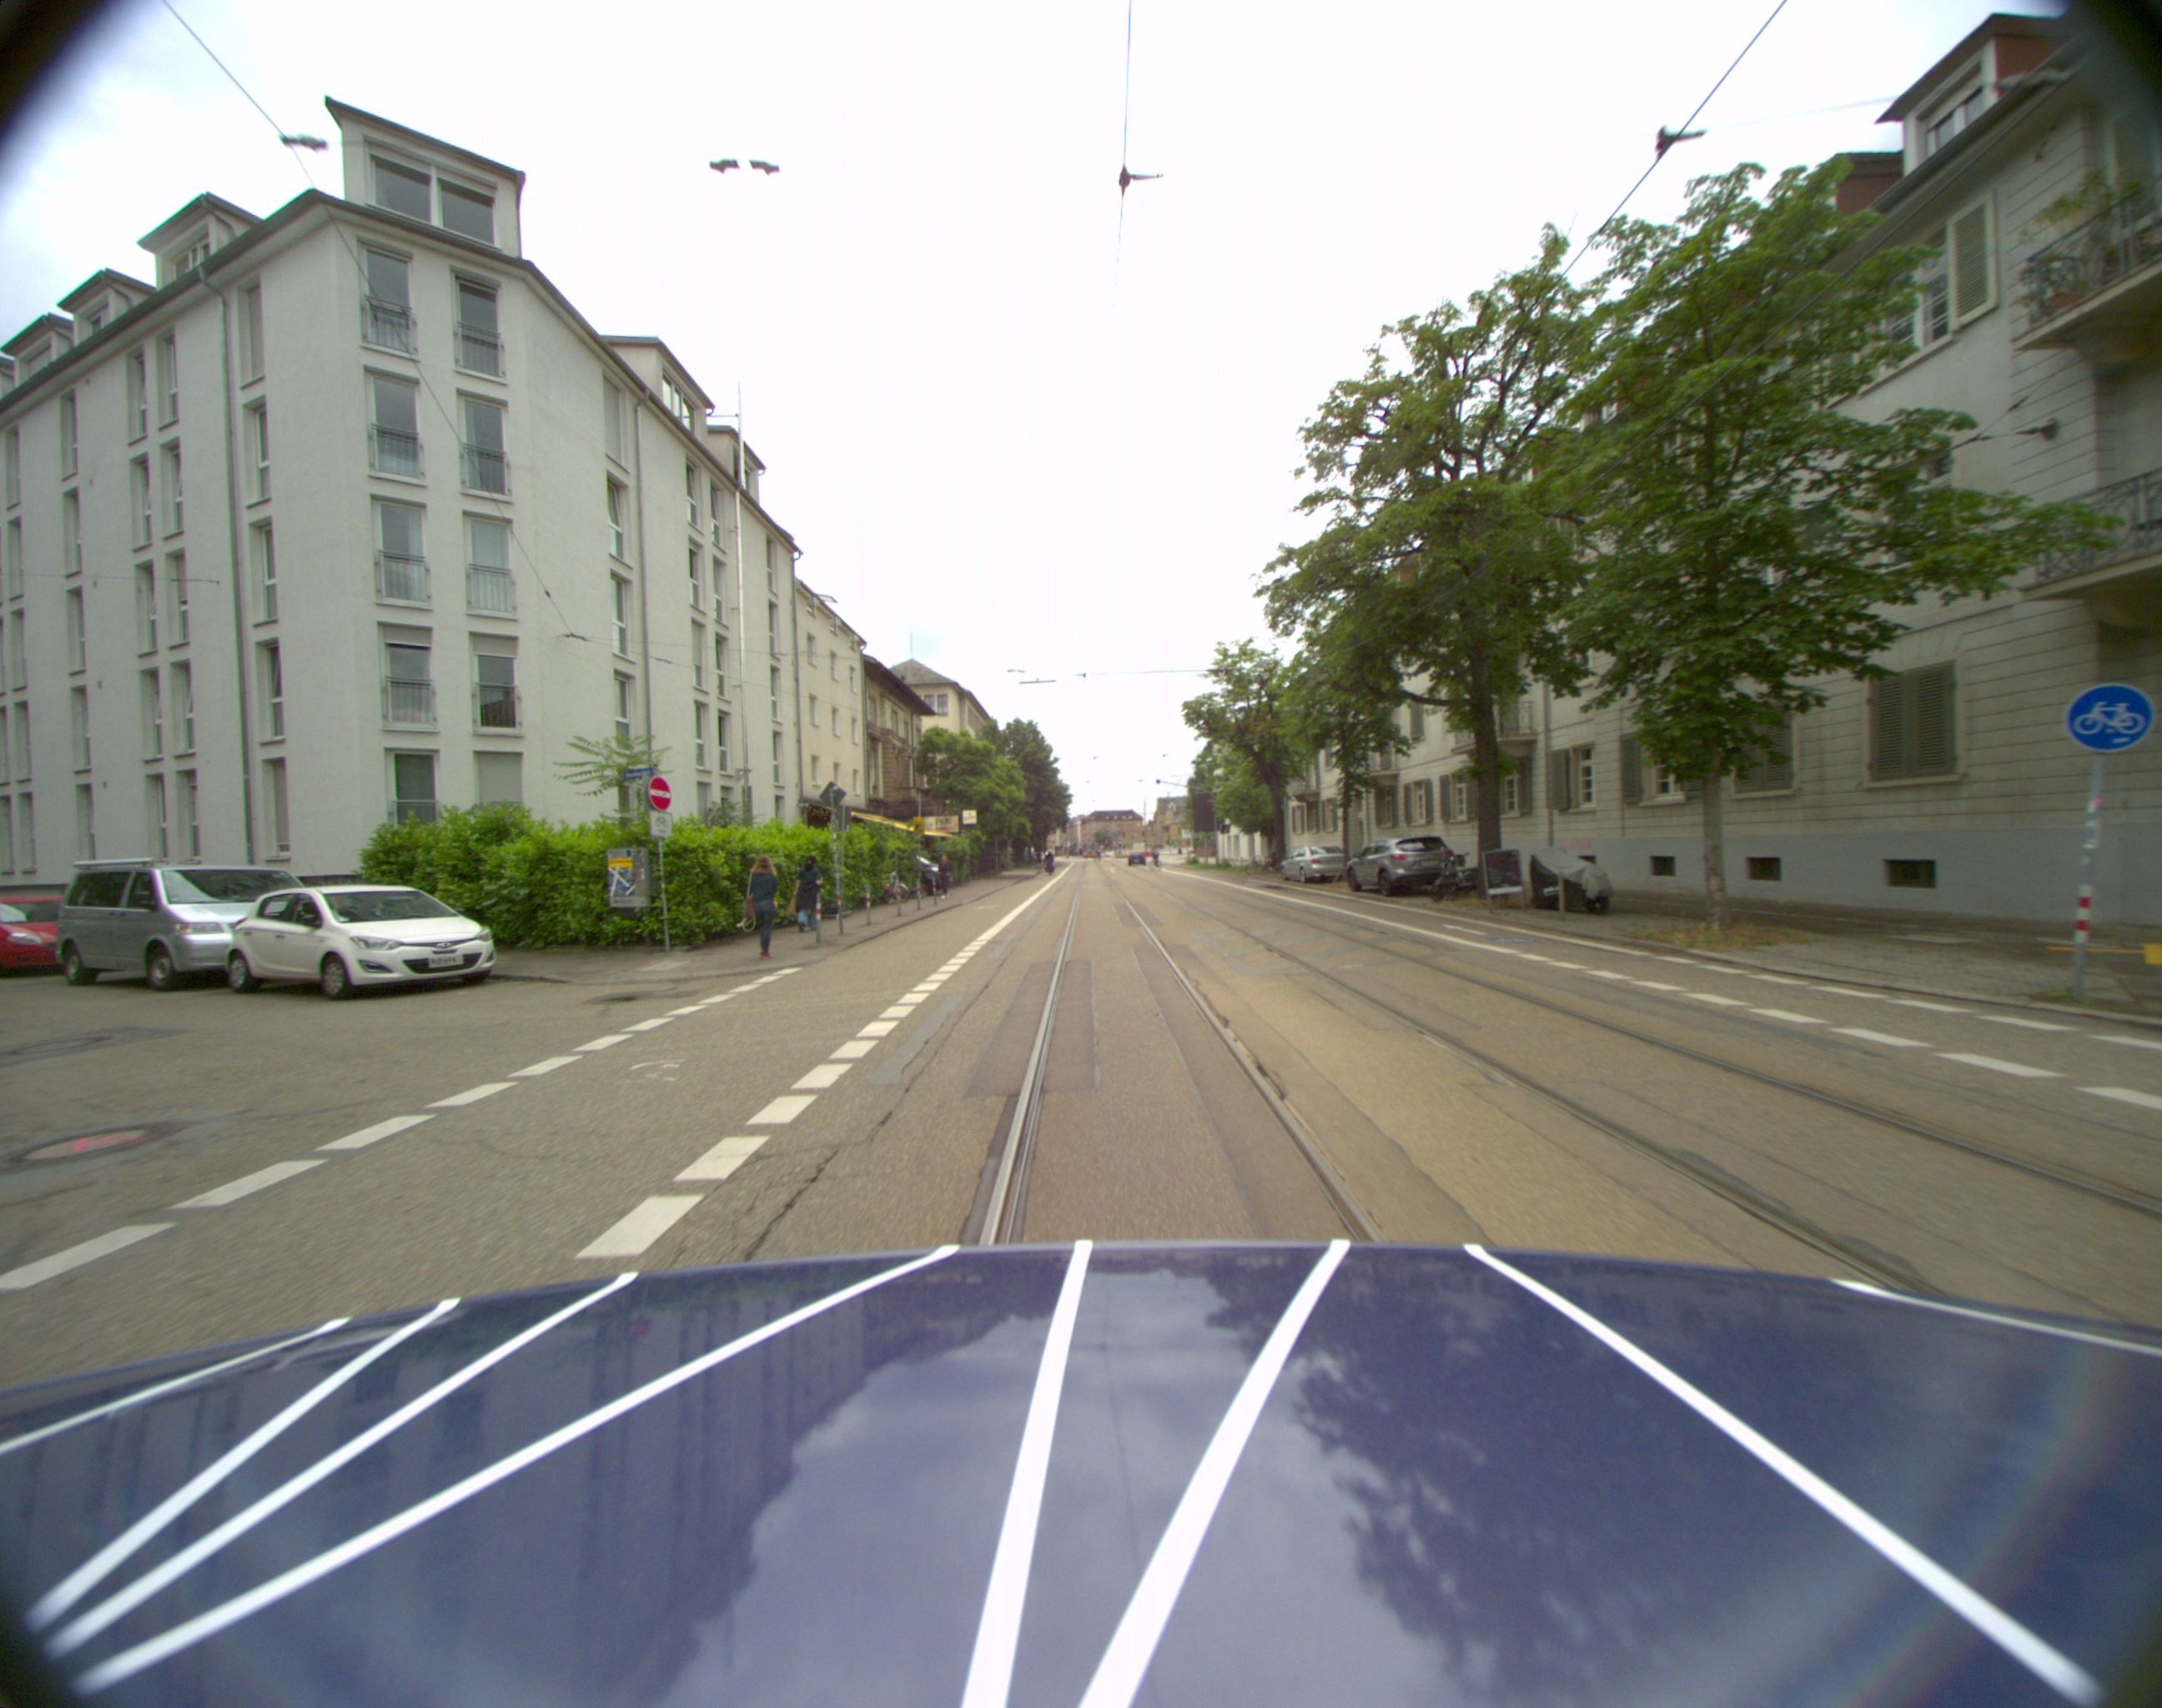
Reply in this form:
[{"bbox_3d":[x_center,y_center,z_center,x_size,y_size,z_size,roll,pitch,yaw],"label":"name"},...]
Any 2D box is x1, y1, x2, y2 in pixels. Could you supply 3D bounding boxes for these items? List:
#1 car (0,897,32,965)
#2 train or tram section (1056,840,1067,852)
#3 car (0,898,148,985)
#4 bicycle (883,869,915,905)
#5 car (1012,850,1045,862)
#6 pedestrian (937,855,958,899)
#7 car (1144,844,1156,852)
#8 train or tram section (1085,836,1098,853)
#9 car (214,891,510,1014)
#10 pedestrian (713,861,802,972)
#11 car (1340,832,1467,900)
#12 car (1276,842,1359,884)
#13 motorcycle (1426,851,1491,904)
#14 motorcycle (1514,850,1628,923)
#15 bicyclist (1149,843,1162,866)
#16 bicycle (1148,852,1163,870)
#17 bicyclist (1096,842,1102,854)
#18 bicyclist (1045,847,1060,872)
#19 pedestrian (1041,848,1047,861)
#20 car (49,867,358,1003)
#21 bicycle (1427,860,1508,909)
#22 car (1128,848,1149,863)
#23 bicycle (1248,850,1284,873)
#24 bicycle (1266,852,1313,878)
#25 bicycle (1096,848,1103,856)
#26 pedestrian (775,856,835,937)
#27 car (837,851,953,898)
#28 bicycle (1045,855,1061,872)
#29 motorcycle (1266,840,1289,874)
[{"bbox_3d":[-25.390,1.754,16.838,3.813,1.439,1.616,-2,1,23],"label":"car"},{"bbox_3d":[-5.077,-2.188,200.326,2.610,2.936,4.965,-2,1,-1],"label":"train or tram section"},{"bbox_3d":[-20.524,1.657,15.006,3.814,1.445,1.569,-2,0,22],"label":"car"},{"bbox_3d":[-6.079,1.084,25.456,0.634,1.121,1.812,0,0,0],"label":"bicycle"},{"bbox_3d":[-7.502,0.277,108.390,4.330,1.542,1.747,-2,1,-22],"label":"car"},{"bbox_3d":[-5.153,0.868,29.293,0.625,1.661,0.959,1,1,0],"label":"pedestrian"},{"bbox_3d":[13.542,-1.127,148.621,1.758,1.491,4.004,-1,1,14],"label":"car"},{"bbox_3d":[2.288,-2.085,169.673,2.631,3.660,5.984,-2,1,-1],"label":"train or tram section"},{"bbox_3d":[-10.297,1.310,10.880,3.812,1.422,1.674,-2,0,23],"label":"car"},{"bbox_3d":[-5.117,0.967,12.058,0.874,1.646,0.909,-2,1,10],"label":"pedestrian"},{"bbox_3d":[9.143,0.302,21.973,1.842,1.651,4.293,-4,0,2],"label":"car"},{"bbox_3d":[9.254,0.323,30.111,1.816,1.457,4.613,-3,0,0],"label":"car"},{"bbox_3d":[9.310,0.578,18.776,1.288,1.215,0.548,-3,1,7],"label":"motorcycle"},{"bbox_3d":[9.326,0.571,14.577,0.541,1.250,2.141,-5,1,-6],"label":"motorcycle"},{"bbox_3d":[5.534,0.056,56.467,0.775,1.681,0.869,-2,1,15],"label":"bicyclist"},{"bbox_3d":[5.513,0.507,56.335,0.775,1.205,1.871,-2,1,15],"label":"bicycle"},{"bbox_3d":[2.679,-0.879,112.101,0.793,1.773,1.148,1,1,8],"label":"bicyclist"},{"bbox_3d":[-2.118,0.430,57.582,0.881,1.811,1.479,-2,-1,5],"label":"bicyclist"},{"bbox_3d":[-5.242,0.043,107.454,0.614,1.740,0.685,-3,1,-14],"label":"pedestrian"},{"bbox_3d":[-14.687,1.239,12.716,4.734,1.927,1.980,-2,0,23],"label":"car"},{"bbox_3d":[9.014,0.694,17.783,1.379,0.999,0.930,-5,1,5],"label":"bicycle"},{"bbox_3d":[5.508,0.145,73.398,1.733,1.400,3.655,-2,1,0],"label":"car"},{"bbox_3d":[9.666,0.385,39.746,1.744,1.122,0.518,-4,0,19],"label":"bicycle"},{"bbox_3d":[9.369,0.486,34.162,1.900,1.021,0.564,-3,1,-3],"label":"bicycle"},{"bbox_3d":[2.705,-0.352,112.277,0.793,1.179,2.012,1,1,8],"label":"bicycle"},{"bbox_3d":[-5.759,0.865,15.903,0.794,1.627,0.837,0,2,16],"label":"pedestrian"},{"bbox_3d":[-7.653,0.835,31.480,4.290,1.799,1.824,-1,1,2],"label":"car"},{"bbox_3d":[-2.135,0.761,57.722,0.853,1.234,2.311,-2,-1,5],"label":"bicycle"},{"bbox_3d":[9.720,0.128,37.622,0.834,1.633,2.481,-2,1,9],"label":"motorcycle"}]
